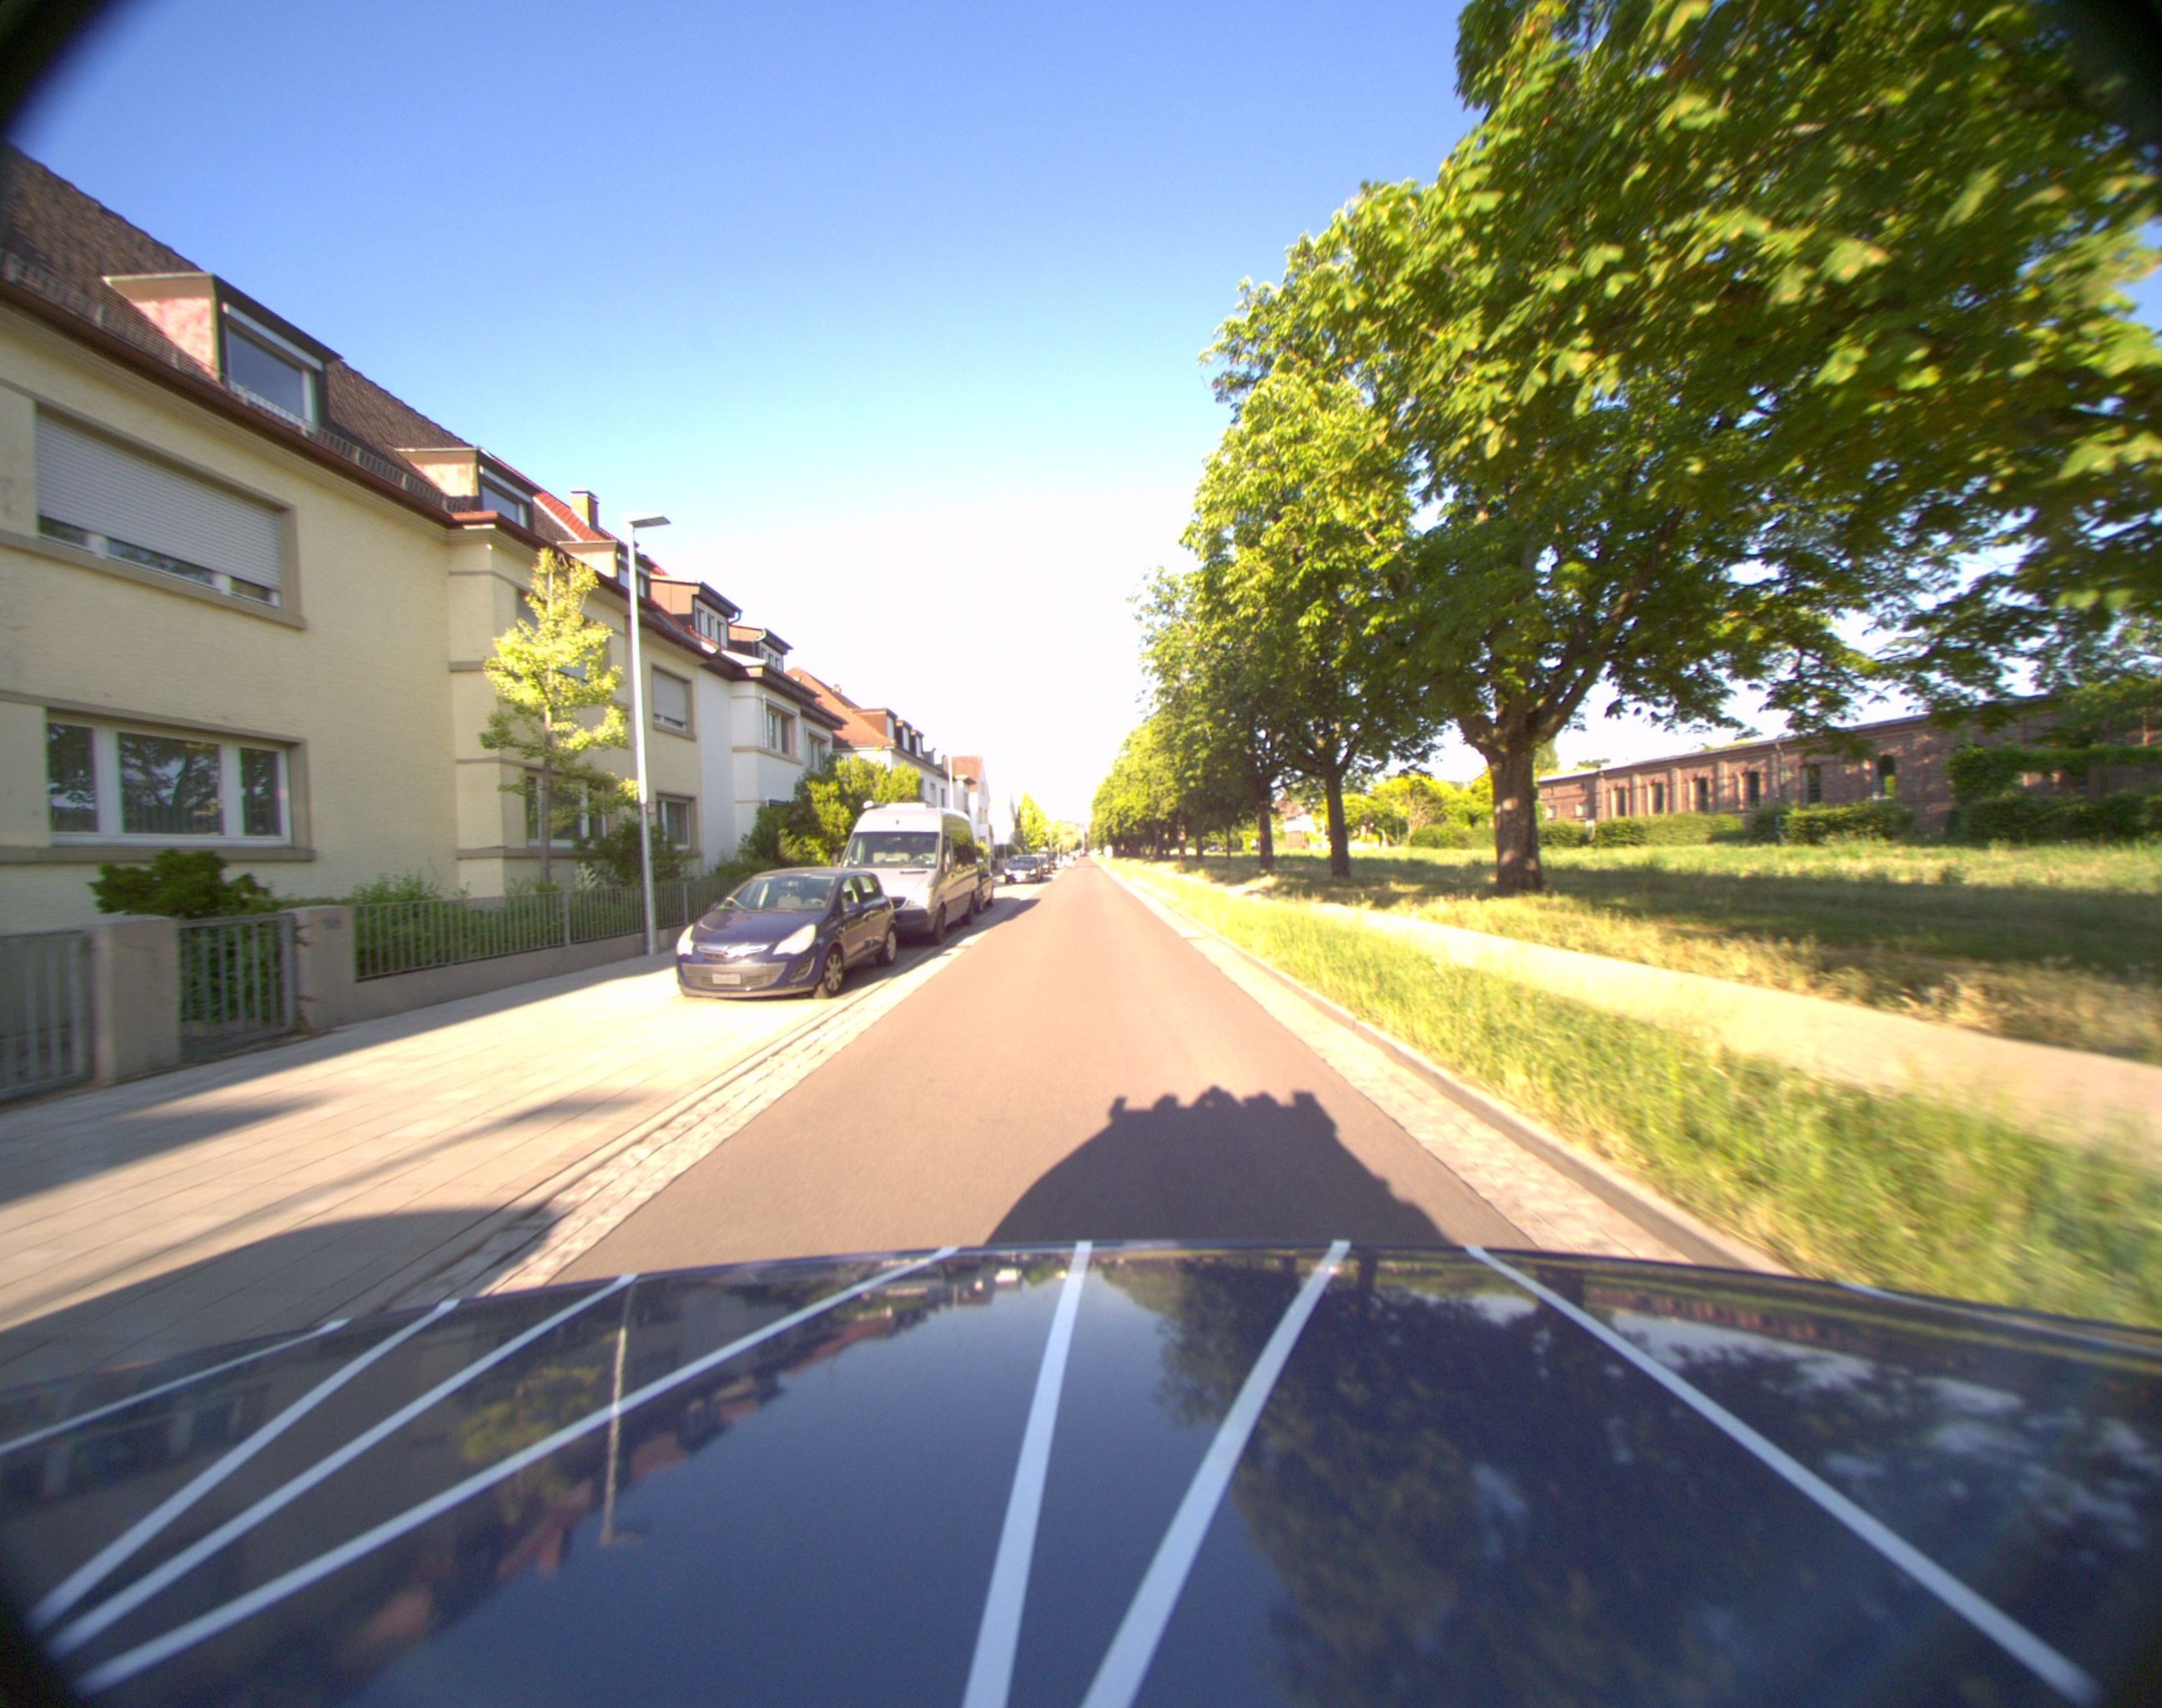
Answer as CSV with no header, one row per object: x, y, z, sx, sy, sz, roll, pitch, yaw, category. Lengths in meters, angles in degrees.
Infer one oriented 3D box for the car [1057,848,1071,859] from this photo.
-2.702,-0.130,120.800,1.974,1.630,4.000,0,1,1,car

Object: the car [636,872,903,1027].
-3.600,1.009,9.641,1.629,1.431,4.004,0,1,2,car

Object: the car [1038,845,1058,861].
-3.575,-0.117,82.458,1.974,1.630,4.000,-1,1,1,car

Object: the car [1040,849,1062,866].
-2.977,0.302,76.493,1.974,1.630,4.000,0,1,1,car

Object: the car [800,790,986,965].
-3.525,0.373,15.717,2.134,2.837,5.986,-3,1,1,car

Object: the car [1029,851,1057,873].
-2.993,0.593,60.079,1.974,1.630,4.000,0,1,1,car

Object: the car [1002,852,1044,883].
-3.199,0.700,42.538,1.974,1.630,4.000,0,1,1,car

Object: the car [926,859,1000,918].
-3.331,0.927,21.918,1.467,1.490,3.356,-2,1,2,car

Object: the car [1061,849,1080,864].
-1.188,0.279,87.808,1.974,1.630,4.000,0,1,1,car

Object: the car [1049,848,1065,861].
-3.221,0.045,103.653,1.974,1.630,4.000,0,1,1,car
